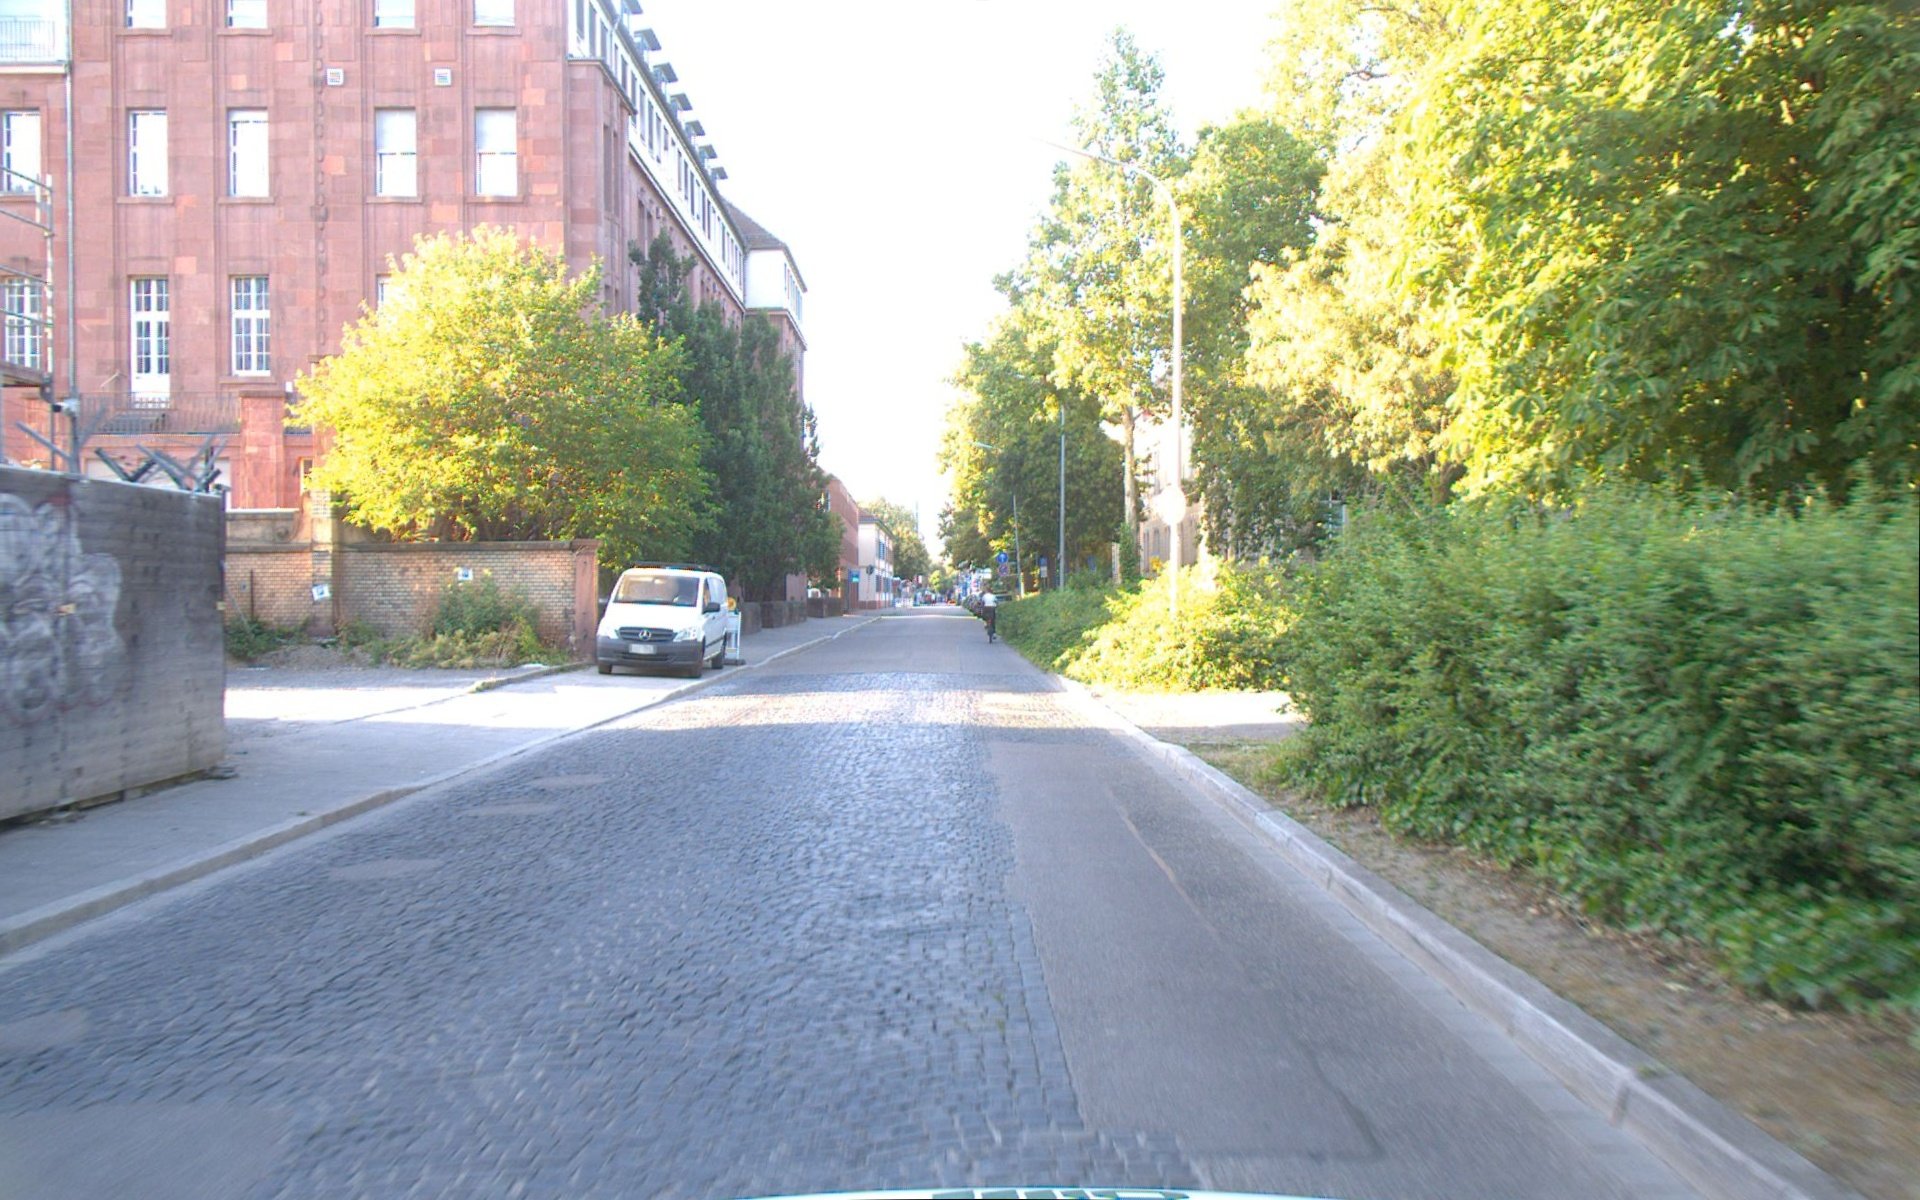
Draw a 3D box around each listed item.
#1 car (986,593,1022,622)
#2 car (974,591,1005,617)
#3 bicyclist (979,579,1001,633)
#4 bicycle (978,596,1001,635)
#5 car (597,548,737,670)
[{"bbox_3d":[2.384,0.429,90.372,1.651,1.472,3.670,-3,-1,-2],"label":"car"},{"bbox_3d":[1.824,0.246,104.238,1.681,1.564,4.047,-1,0,-2],"label":"car"},{"bbox_3d":[0.949,0.187,53.114,0.626,1.696,0.842,1,0,-2],"label":"bicyclist"},{"bbox_3d":[0.944,0.490,53.160,0.625,1.214,1.875,1,0,-2],"label":"bicycle"},{"bbox_3d":[-5.402,0.184,31.086,1.845,2.049,5.223,1,-1,-2],"label":"car"}]
